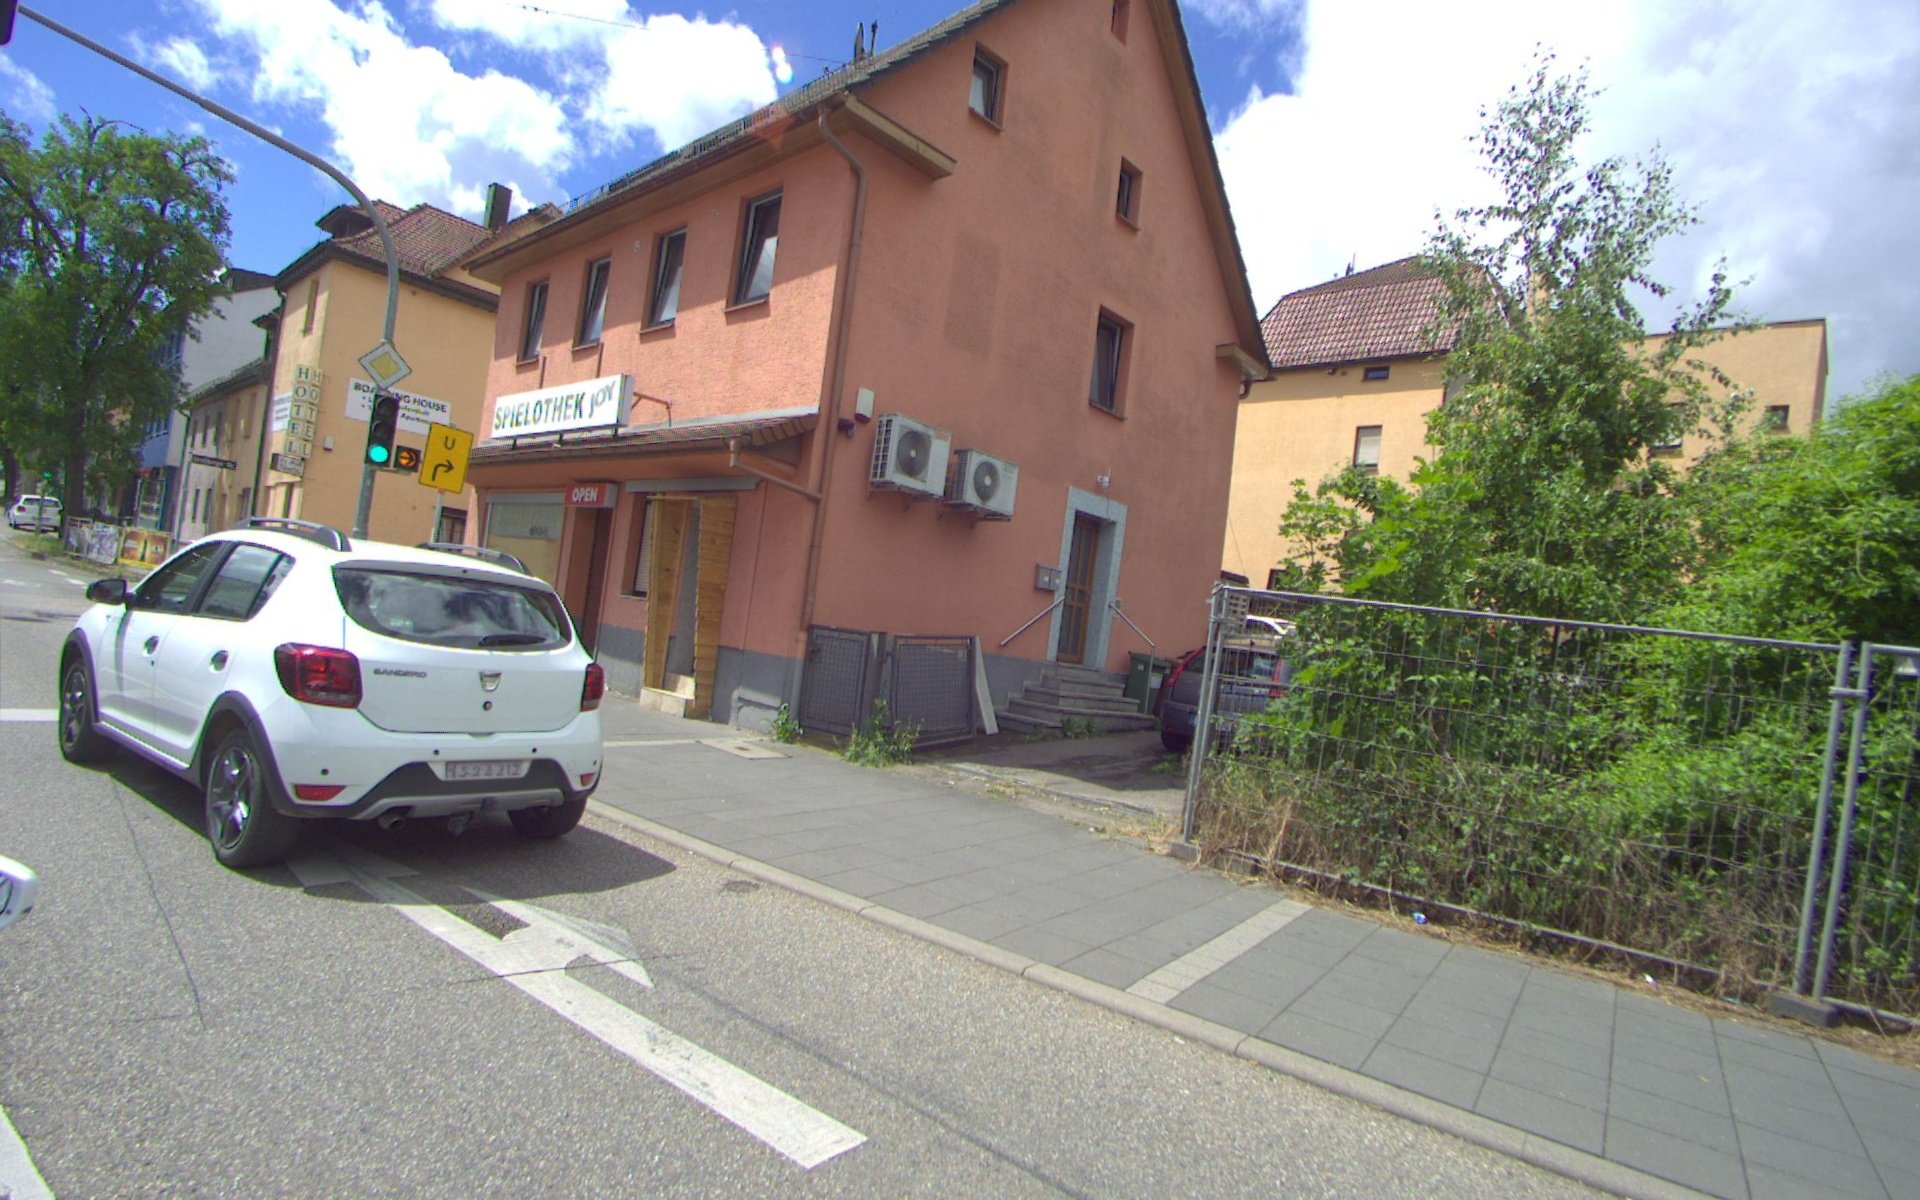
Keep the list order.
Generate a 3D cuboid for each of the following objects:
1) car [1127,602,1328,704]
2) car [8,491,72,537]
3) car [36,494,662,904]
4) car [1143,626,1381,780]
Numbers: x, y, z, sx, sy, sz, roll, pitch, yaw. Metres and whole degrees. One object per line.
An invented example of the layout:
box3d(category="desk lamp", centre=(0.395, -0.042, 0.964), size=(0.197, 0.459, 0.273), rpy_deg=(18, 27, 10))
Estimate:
box3d(category="car", centre=(6.215, 1.220, 23.638), size=(3.947, 1.804, 1.990), rpy_deg=(7, -1, 44))
box3d(category="car", centre=(-39.440, -3.669, 43.105), size=(1.782, 1.615, 3.950), rpy_deg=(7, -1, -45))
box3d(category="car", centre=(-3.706, 0.361, 5.895), size=(3.734, 1.569, 1.715), rpy_deg=(7, 0, 36))
box3d(category="car", centre=(3.796, 1.197, 12.473), size=(1.627, 1.516, 2.796), rpy_deg=(7, 2, 43))
